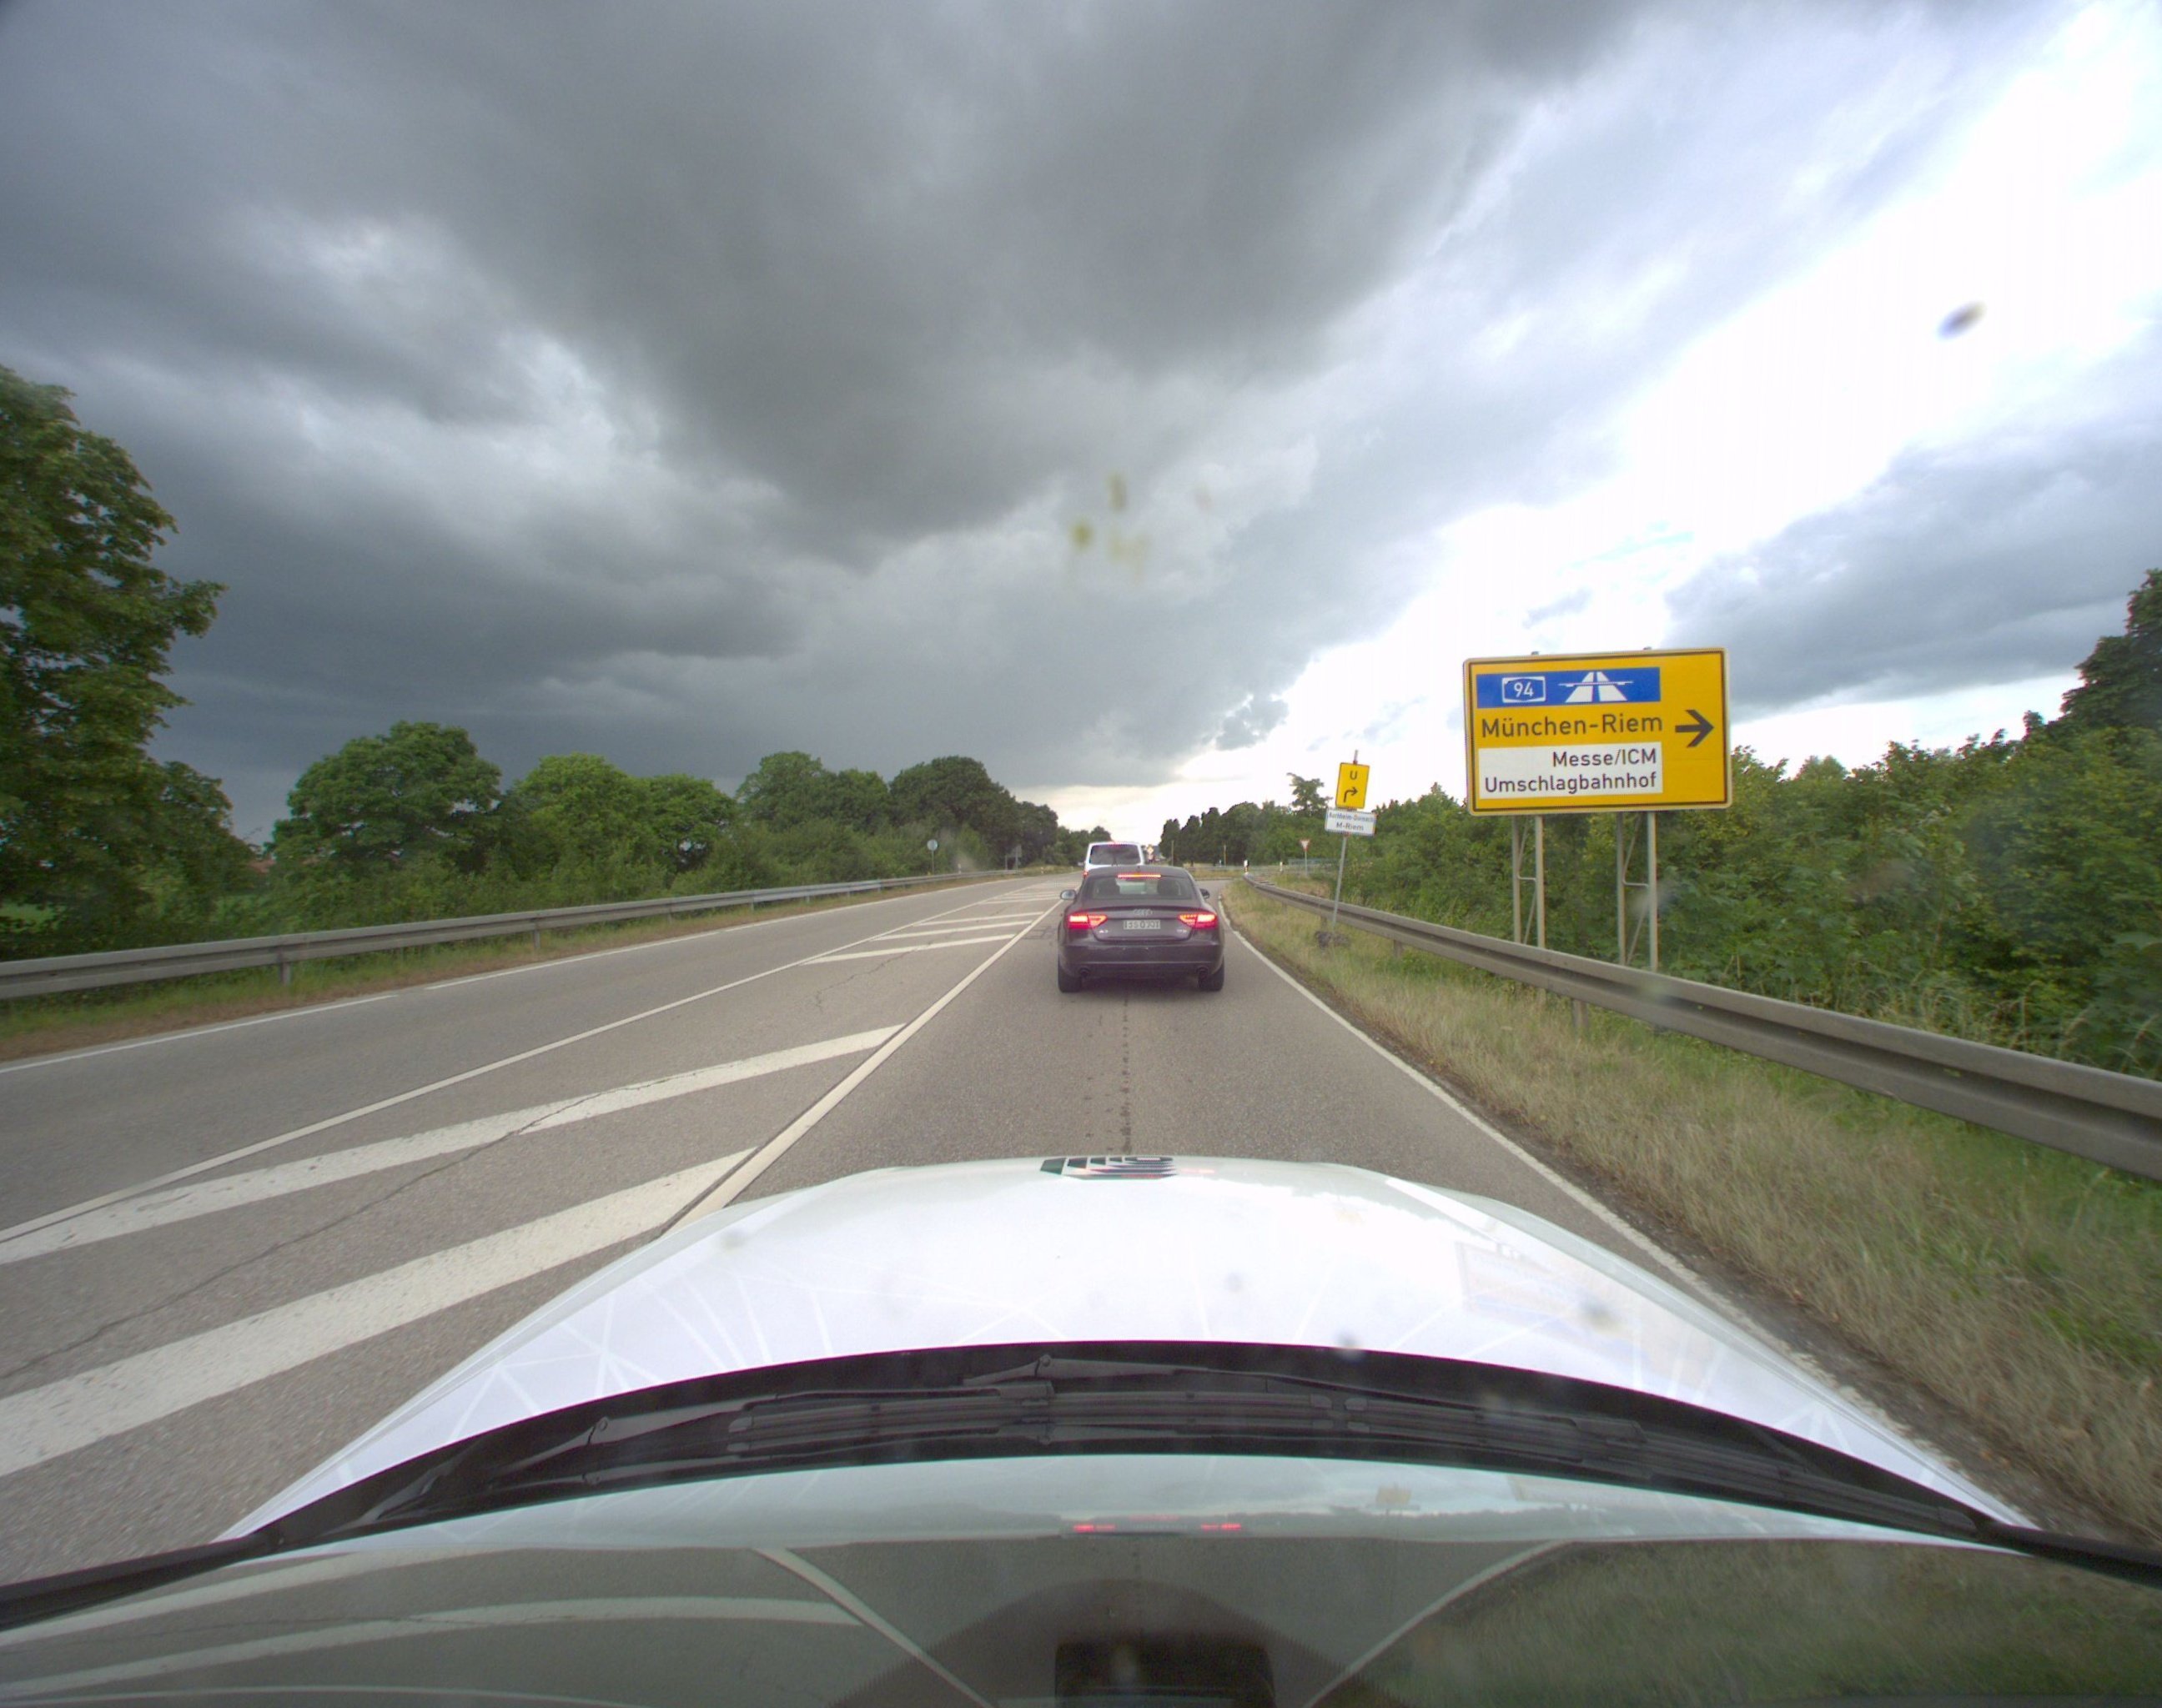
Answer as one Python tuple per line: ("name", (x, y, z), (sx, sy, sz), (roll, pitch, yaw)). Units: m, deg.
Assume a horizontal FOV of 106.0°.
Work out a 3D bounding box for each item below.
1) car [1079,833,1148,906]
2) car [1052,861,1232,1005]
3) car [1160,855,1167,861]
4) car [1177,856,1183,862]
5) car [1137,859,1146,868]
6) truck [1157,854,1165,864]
("car", (0.962, 0.424, 24.664), (1.903, 2.013, 4.002), (0, 0, 2))
("car", (0.647, 0.794, 9.753), (1.773, 1.399, 3.337), (-1, 0, 1))
("car", (25.542, 1.161, 252.040), (1.984, 1.692, 4.005), (0, 0, 4))
("car", (29.720, 1.483, 244.617), (1.865, 1.692, 4.009), (0, 0, 8))
("car", (14.571, 2.220, 195.924), (1.984, 2.013, 4.005), (0, 0, 4))
("truck", (22.979, 1.385, 233.913), (1.984, 2.918, 5.801), (0, 0, 5))
